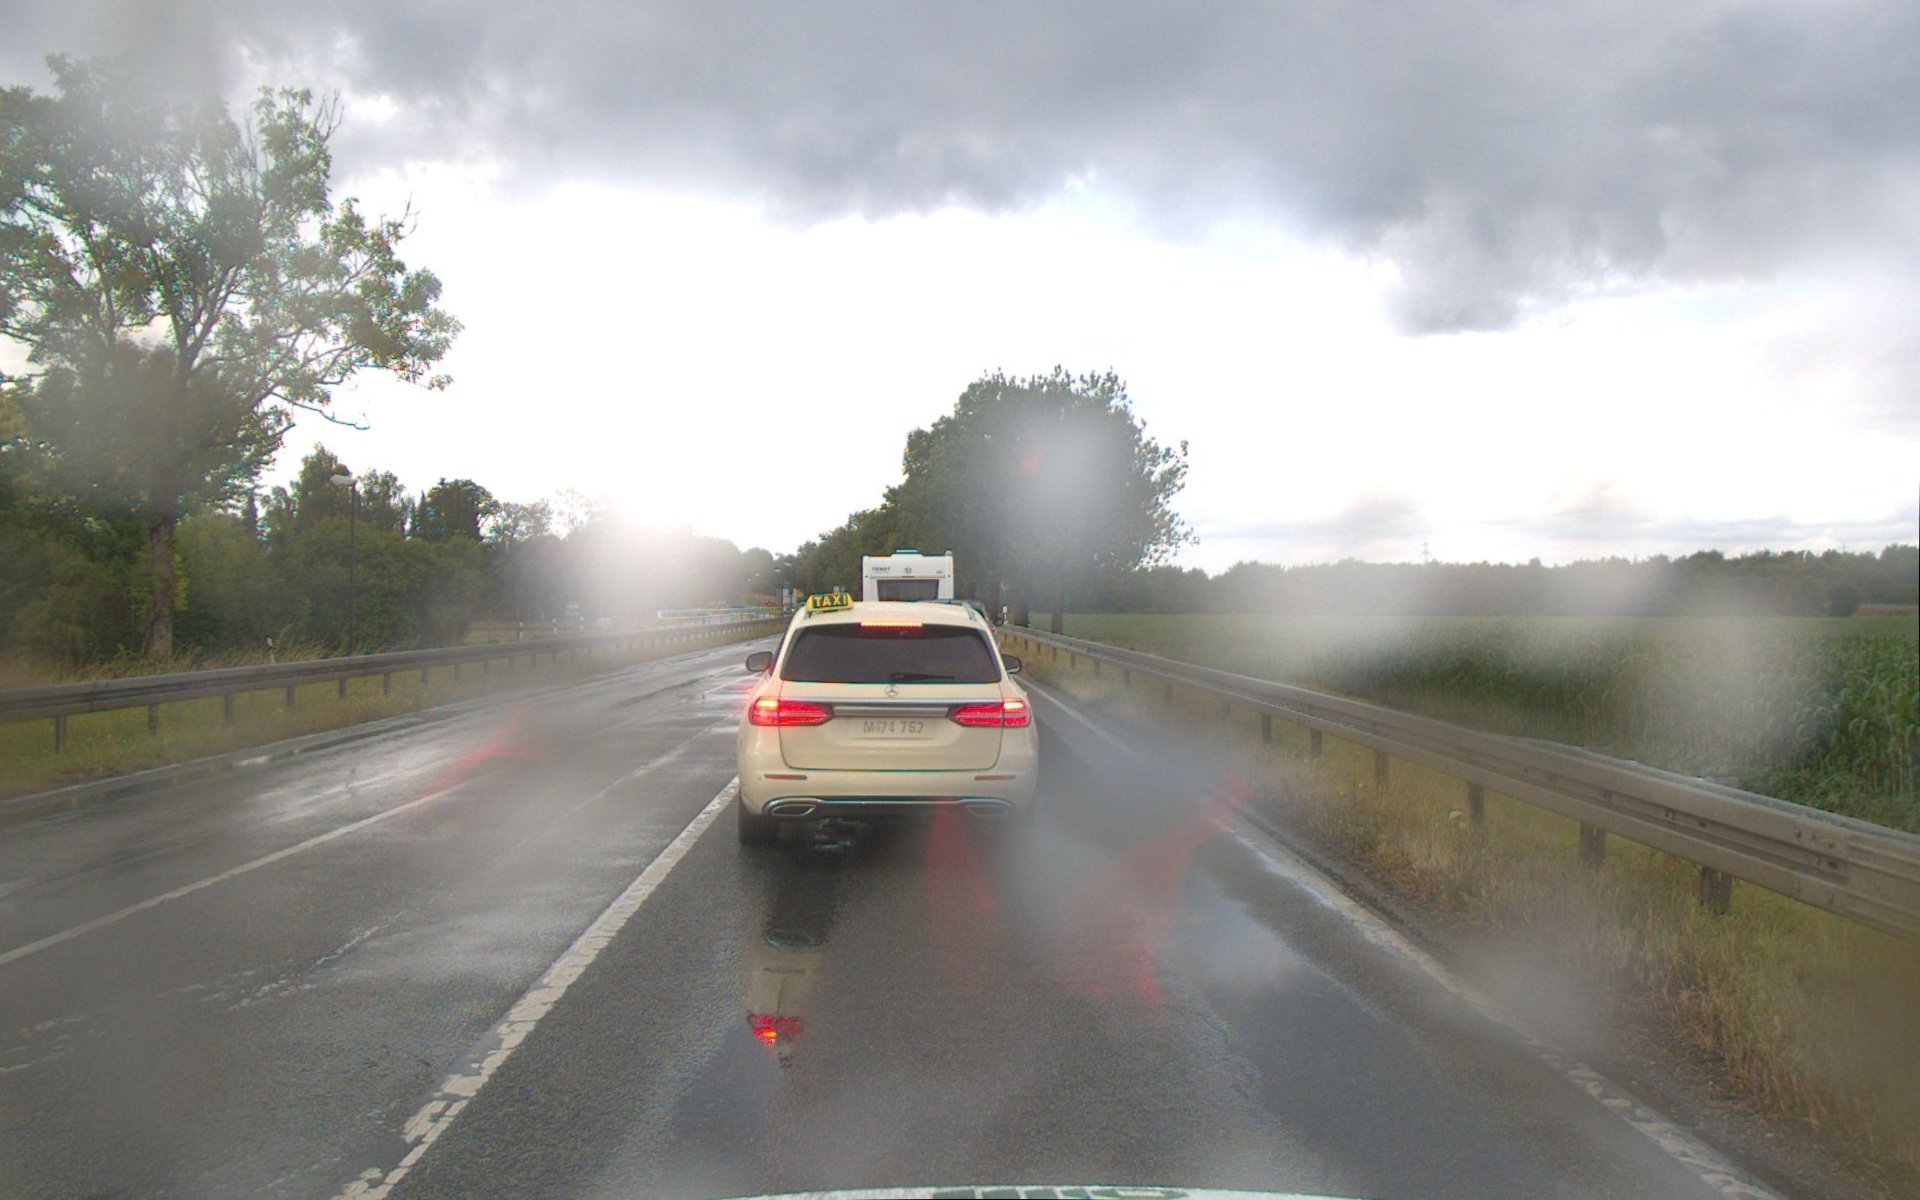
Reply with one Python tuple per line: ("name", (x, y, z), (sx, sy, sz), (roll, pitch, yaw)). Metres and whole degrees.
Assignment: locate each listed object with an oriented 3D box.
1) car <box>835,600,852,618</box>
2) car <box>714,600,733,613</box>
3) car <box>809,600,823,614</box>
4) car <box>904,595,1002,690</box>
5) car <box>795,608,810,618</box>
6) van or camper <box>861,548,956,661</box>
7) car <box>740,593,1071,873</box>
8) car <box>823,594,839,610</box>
("car", (-13.732, 1.042, 195.150), (1.953, 2.087, 3.998), (0, 0, -2))
("car", (-30.544, 0.872, 213.699), (1.953, 1.680, 4.000), (0, 0, 0))
("car", (-21.164, 1.050, 242.936), (1.955, 2.049, 3.994), (0, 0, -7))
("car", (-0.162, 0.689, 29.053), (1.594, 1.556, 3.931), (0, 0, -1))
("car", (-21.083, 1.730, 221.769), (1.723, 1.291, 3.999), (0, 0, -1))
("van or camper", (-1.313, 0.080, 42.848), (2.303, 2.727, 5.767), (0, 0, -1))
("car", (-0.304, 0.725, 11.018), (1.788, 1.511, 4.144), (0, 0, 0))
("car", (-16.197, 0.260, 207.470), (1.954, 2.049, 3.997), (0, 0, -4))
